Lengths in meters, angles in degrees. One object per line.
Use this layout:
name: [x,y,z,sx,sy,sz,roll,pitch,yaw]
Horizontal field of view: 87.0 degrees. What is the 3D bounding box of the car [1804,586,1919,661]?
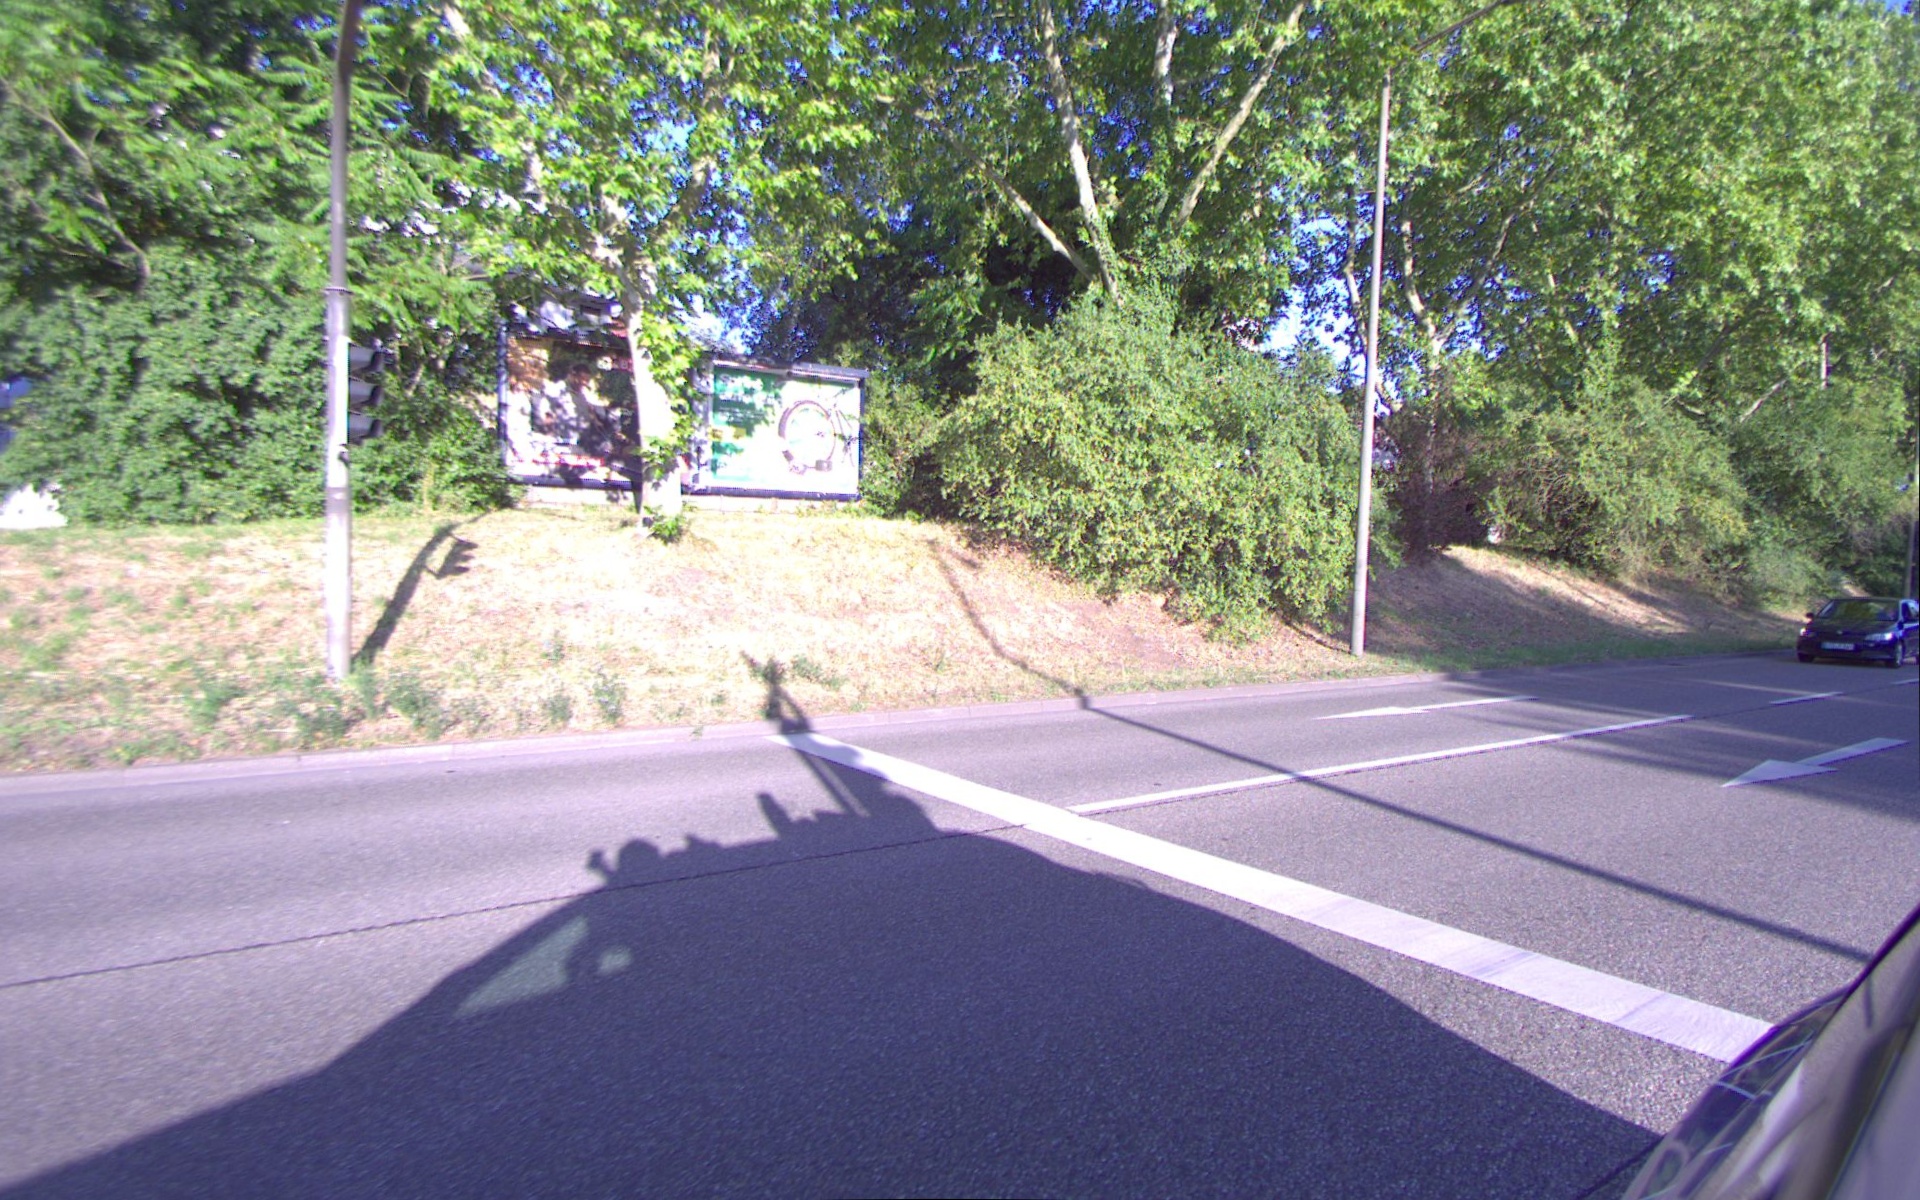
car: [20.073,0.444,22.006,3.909,1.460,1.630,-1,2,-35]
